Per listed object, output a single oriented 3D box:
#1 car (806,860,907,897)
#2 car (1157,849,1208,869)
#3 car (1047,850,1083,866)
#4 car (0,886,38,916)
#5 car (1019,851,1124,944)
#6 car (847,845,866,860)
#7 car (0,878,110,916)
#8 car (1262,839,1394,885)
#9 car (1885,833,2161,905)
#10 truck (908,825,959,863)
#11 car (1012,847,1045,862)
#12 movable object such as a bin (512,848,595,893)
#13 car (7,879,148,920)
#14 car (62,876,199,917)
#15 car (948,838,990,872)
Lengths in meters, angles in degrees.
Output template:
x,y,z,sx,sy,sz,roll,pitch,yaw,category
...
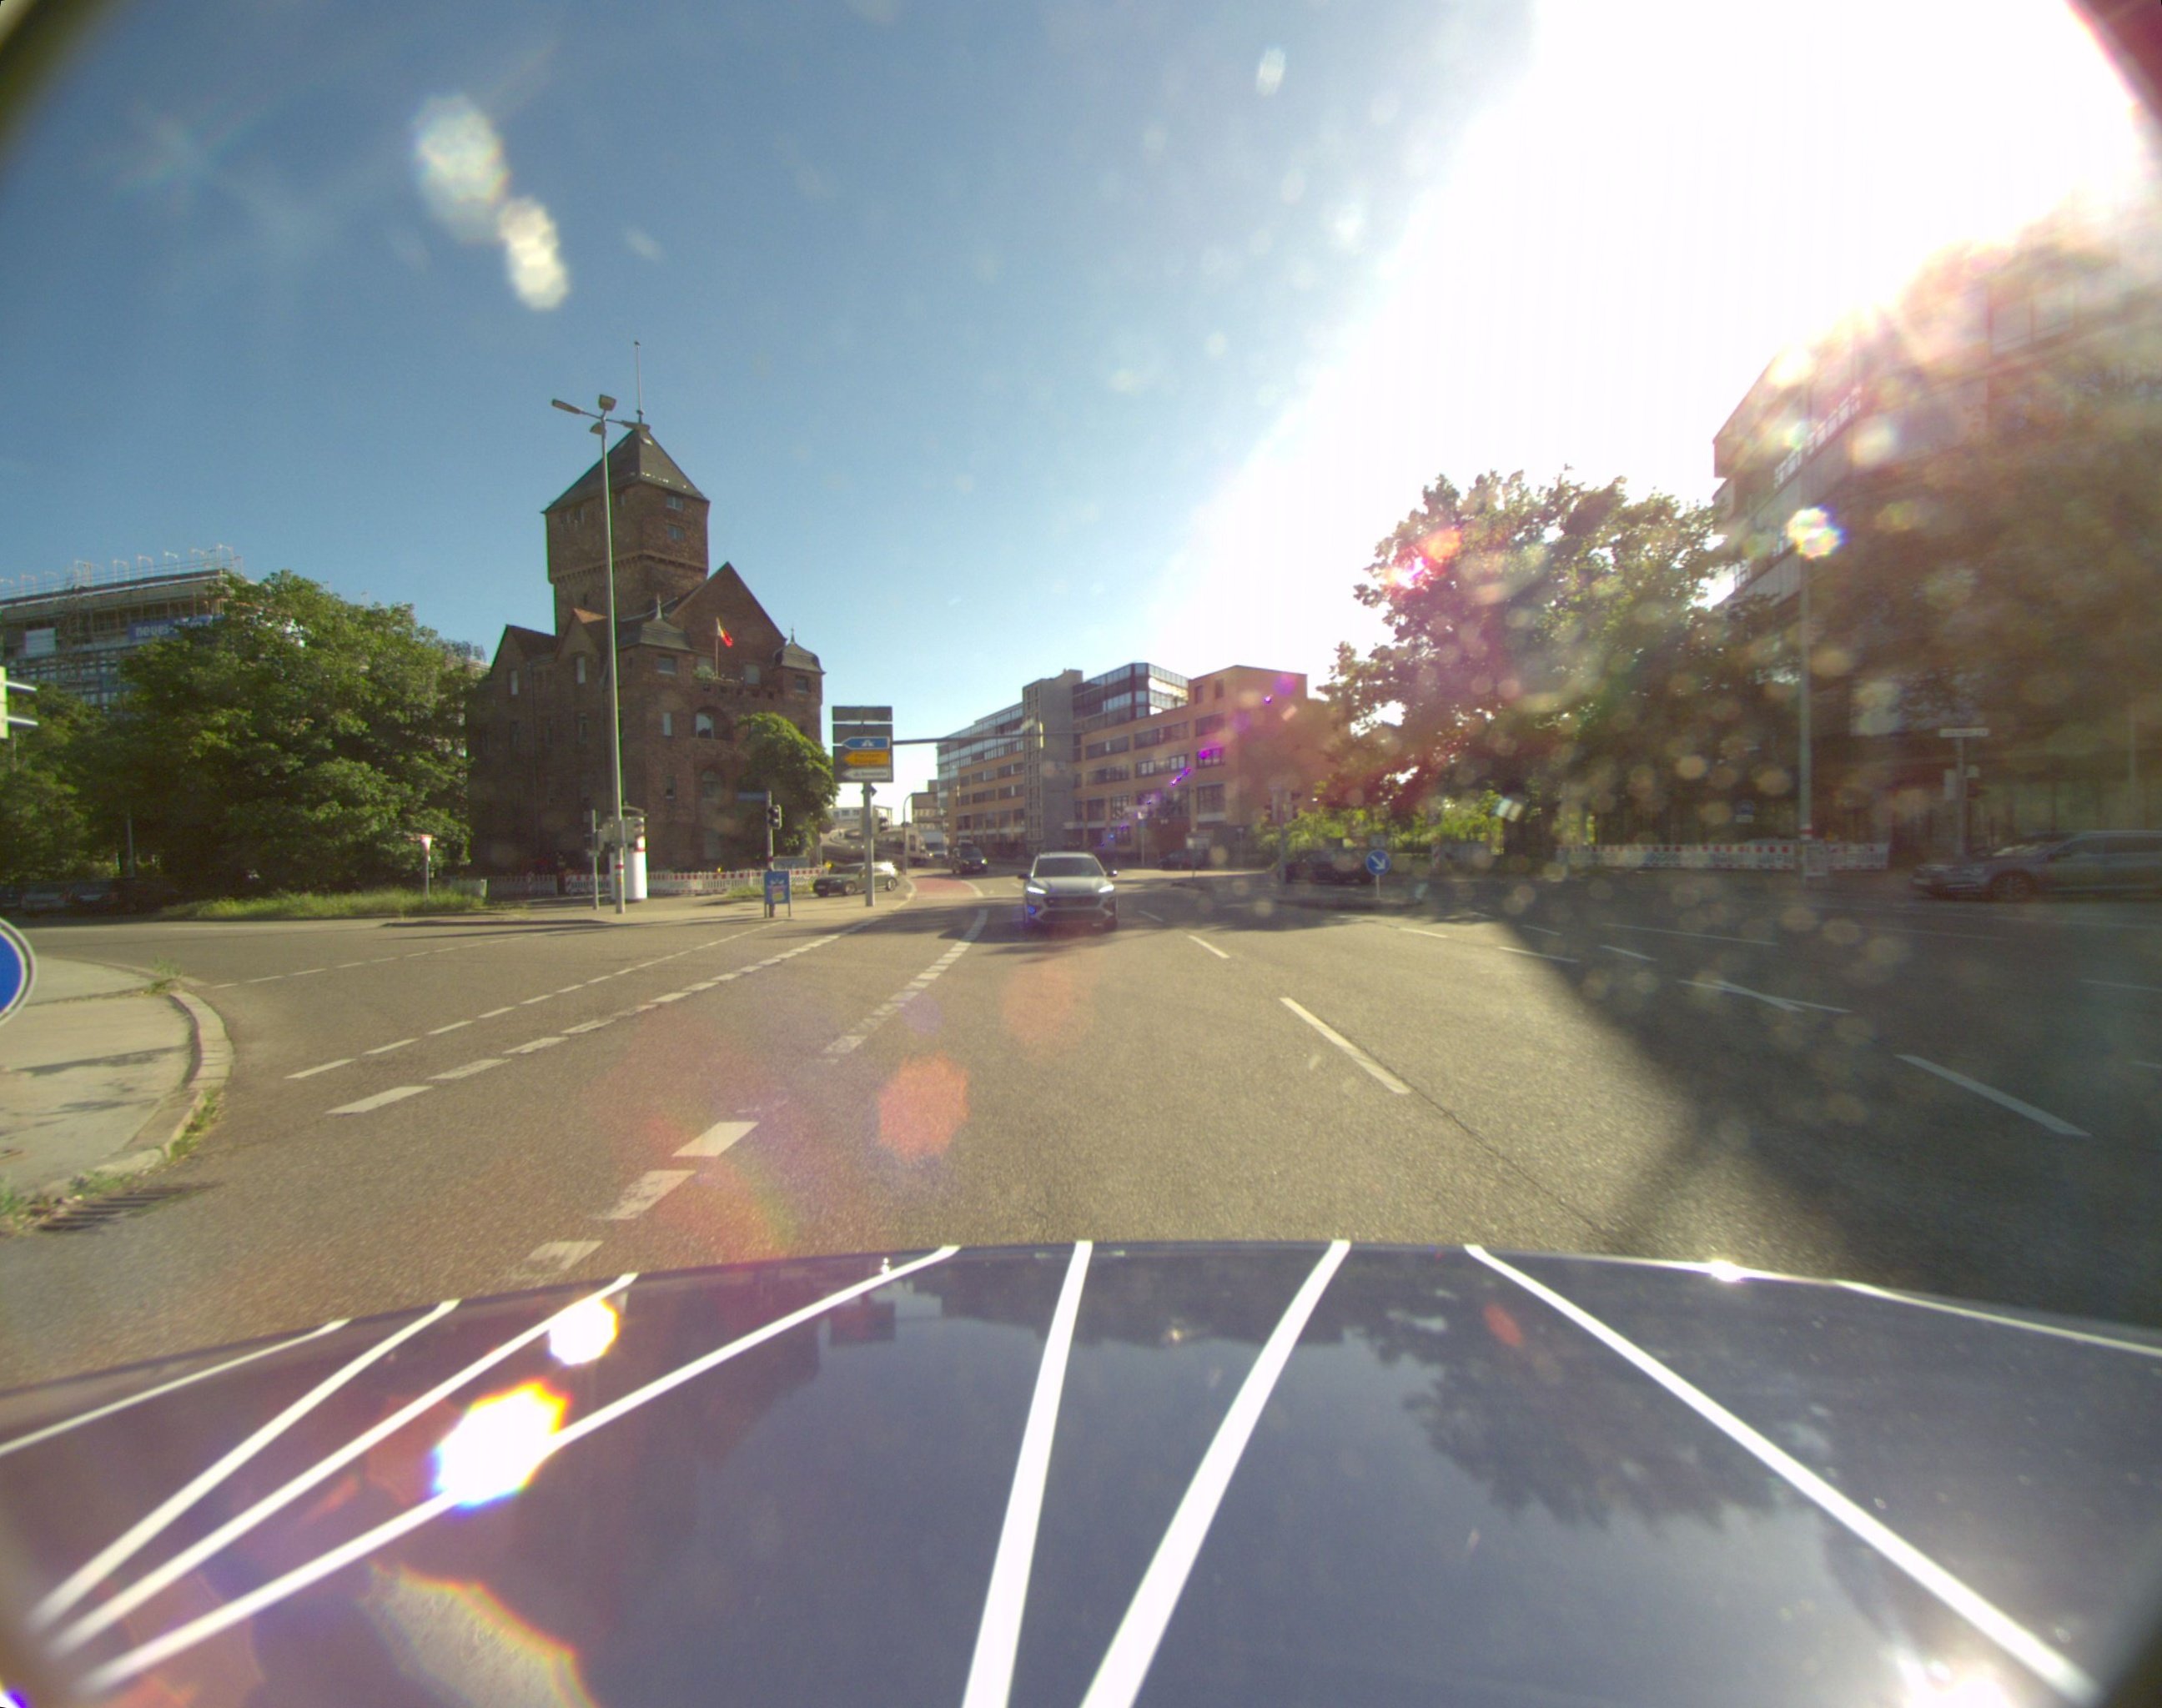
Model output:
x,y,z,sx,sy,sz,roll,pitch,yaw,category
-10.491,1.129,35.863,1.876,1.462,4.643,-2,0,26,car
7.691,0.395,57.976,1.662,1.500,4.370,0,-1,-26,car
-1.609,0.363,74.832,1.641,1.515,4.150,-2,1,-33,car
-55.318,2.433,37.898,2.002,1.445,3.775,-2,1,-19,car
-0.337,0.782,16.081,1.880,1.612,4.194,-1,1,-5,car
-28.380,-0.221,95.999,1.760,1.749,4.775,-2,1,-24,car
-48.307,1.980,35.416,2.002,1.552,3.775,-2,1,-19,car
9.558,0.280,29.813,1.954,1.612,4.773,-2,1,-30,car
20.862,0.315,16.417,4.501,1.350,1.881,-2,2,14,car
-12.812,-0.838,65.421,2.507,3.110,6.944,-2,1,-26,truck
-5.678,0.059,82.434,1.883,1.515,4.151,-2,1,-30,car
-29.486,0.898,42.470,3.990,2.395,2.003,-1,1,26,movable object such as a bin
-44.655,1.974,33.951,2.002,1.552,3.775,-2,1,-19,car
-41.566,1.806,33.394,2.002,1.552,3.775,-2,1,-19,car
-7.812,0.052,52.705,1.953,2.248,4.777,-2,1,-19,car
